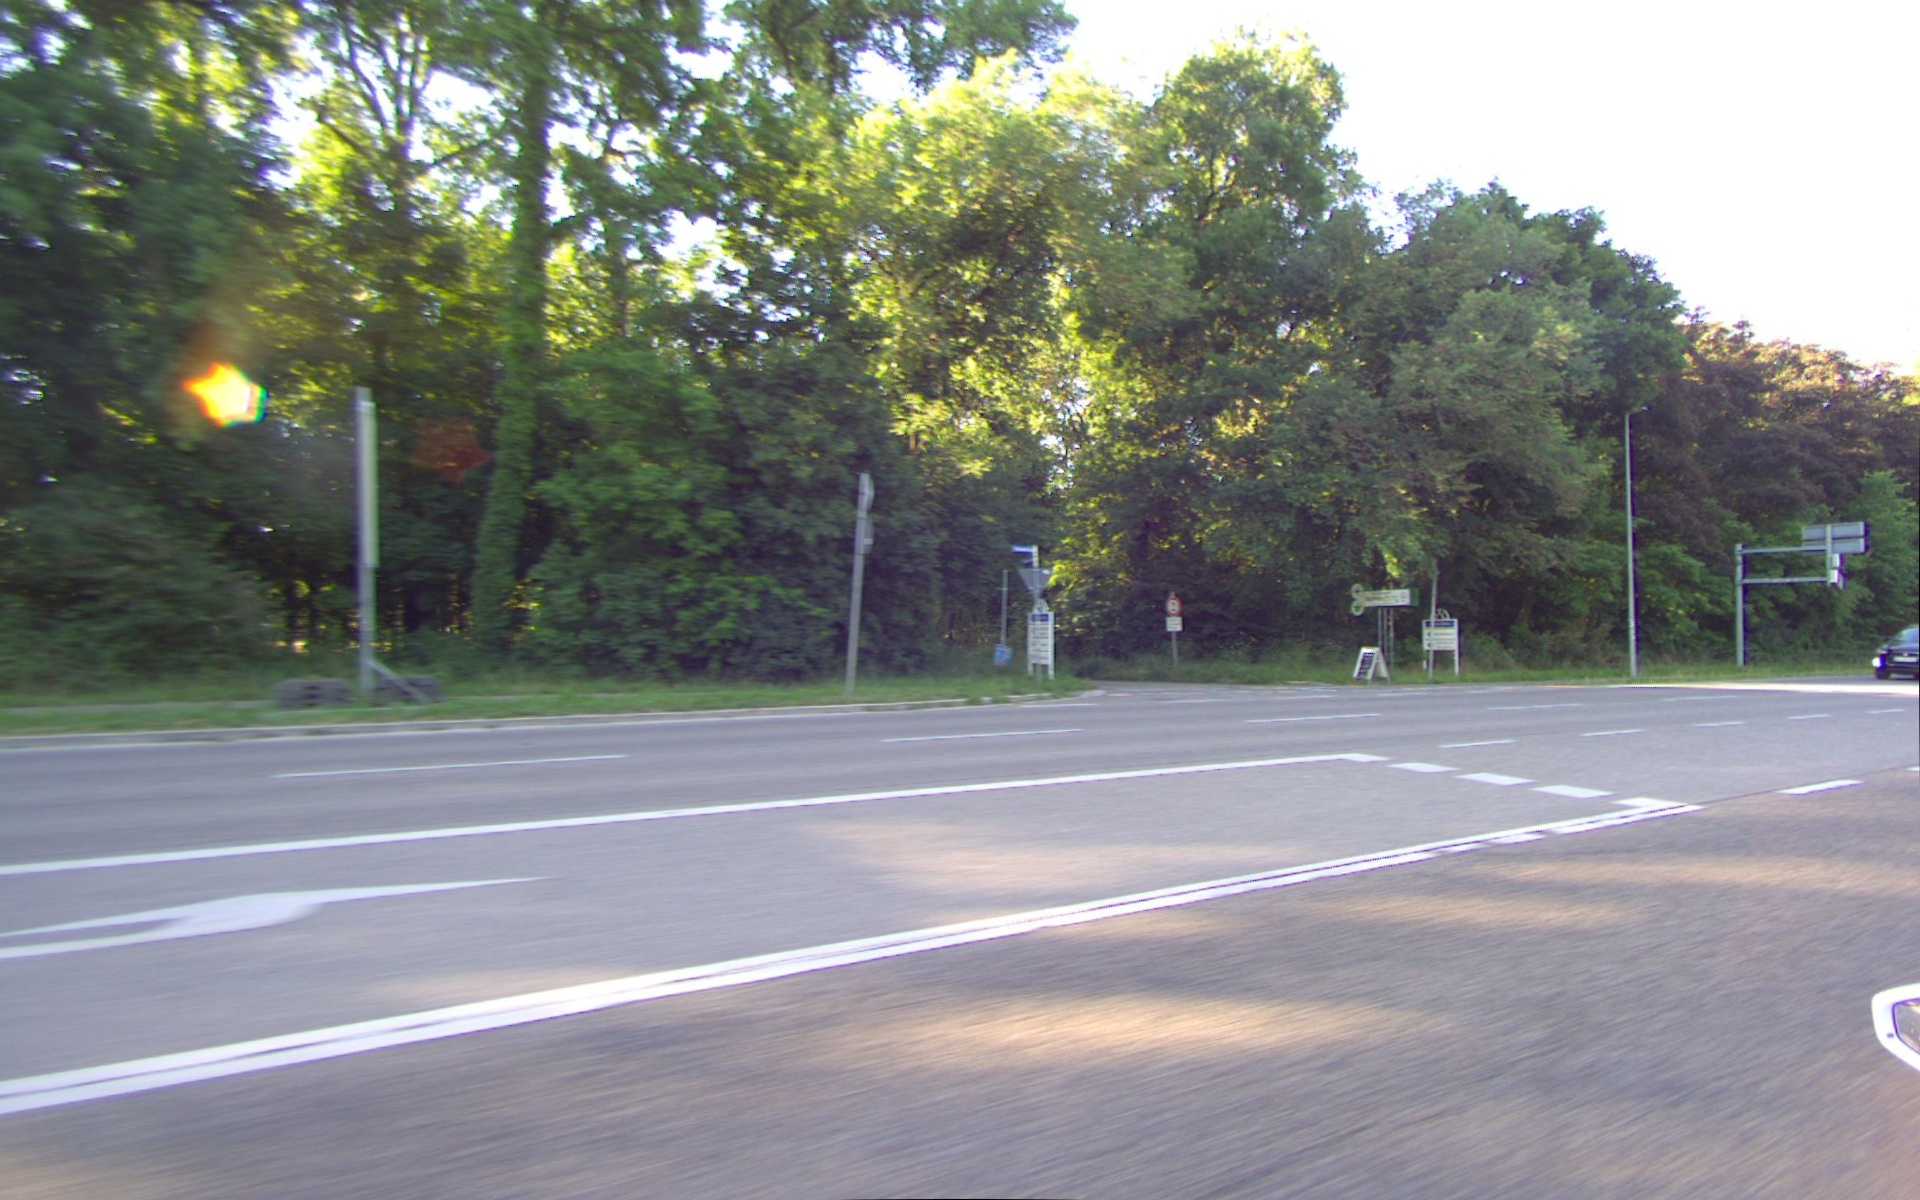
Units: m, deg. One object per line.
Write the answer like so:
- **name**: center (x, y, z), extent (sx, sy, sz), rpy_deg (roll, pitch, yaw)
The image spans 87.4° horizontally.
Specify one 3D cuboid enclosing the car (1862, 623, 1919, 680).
- **car**: center (28.705, 1.504, 29.682), extent (4.299, 1.610, 1.816), rpy_deg (1, -1, -30)
